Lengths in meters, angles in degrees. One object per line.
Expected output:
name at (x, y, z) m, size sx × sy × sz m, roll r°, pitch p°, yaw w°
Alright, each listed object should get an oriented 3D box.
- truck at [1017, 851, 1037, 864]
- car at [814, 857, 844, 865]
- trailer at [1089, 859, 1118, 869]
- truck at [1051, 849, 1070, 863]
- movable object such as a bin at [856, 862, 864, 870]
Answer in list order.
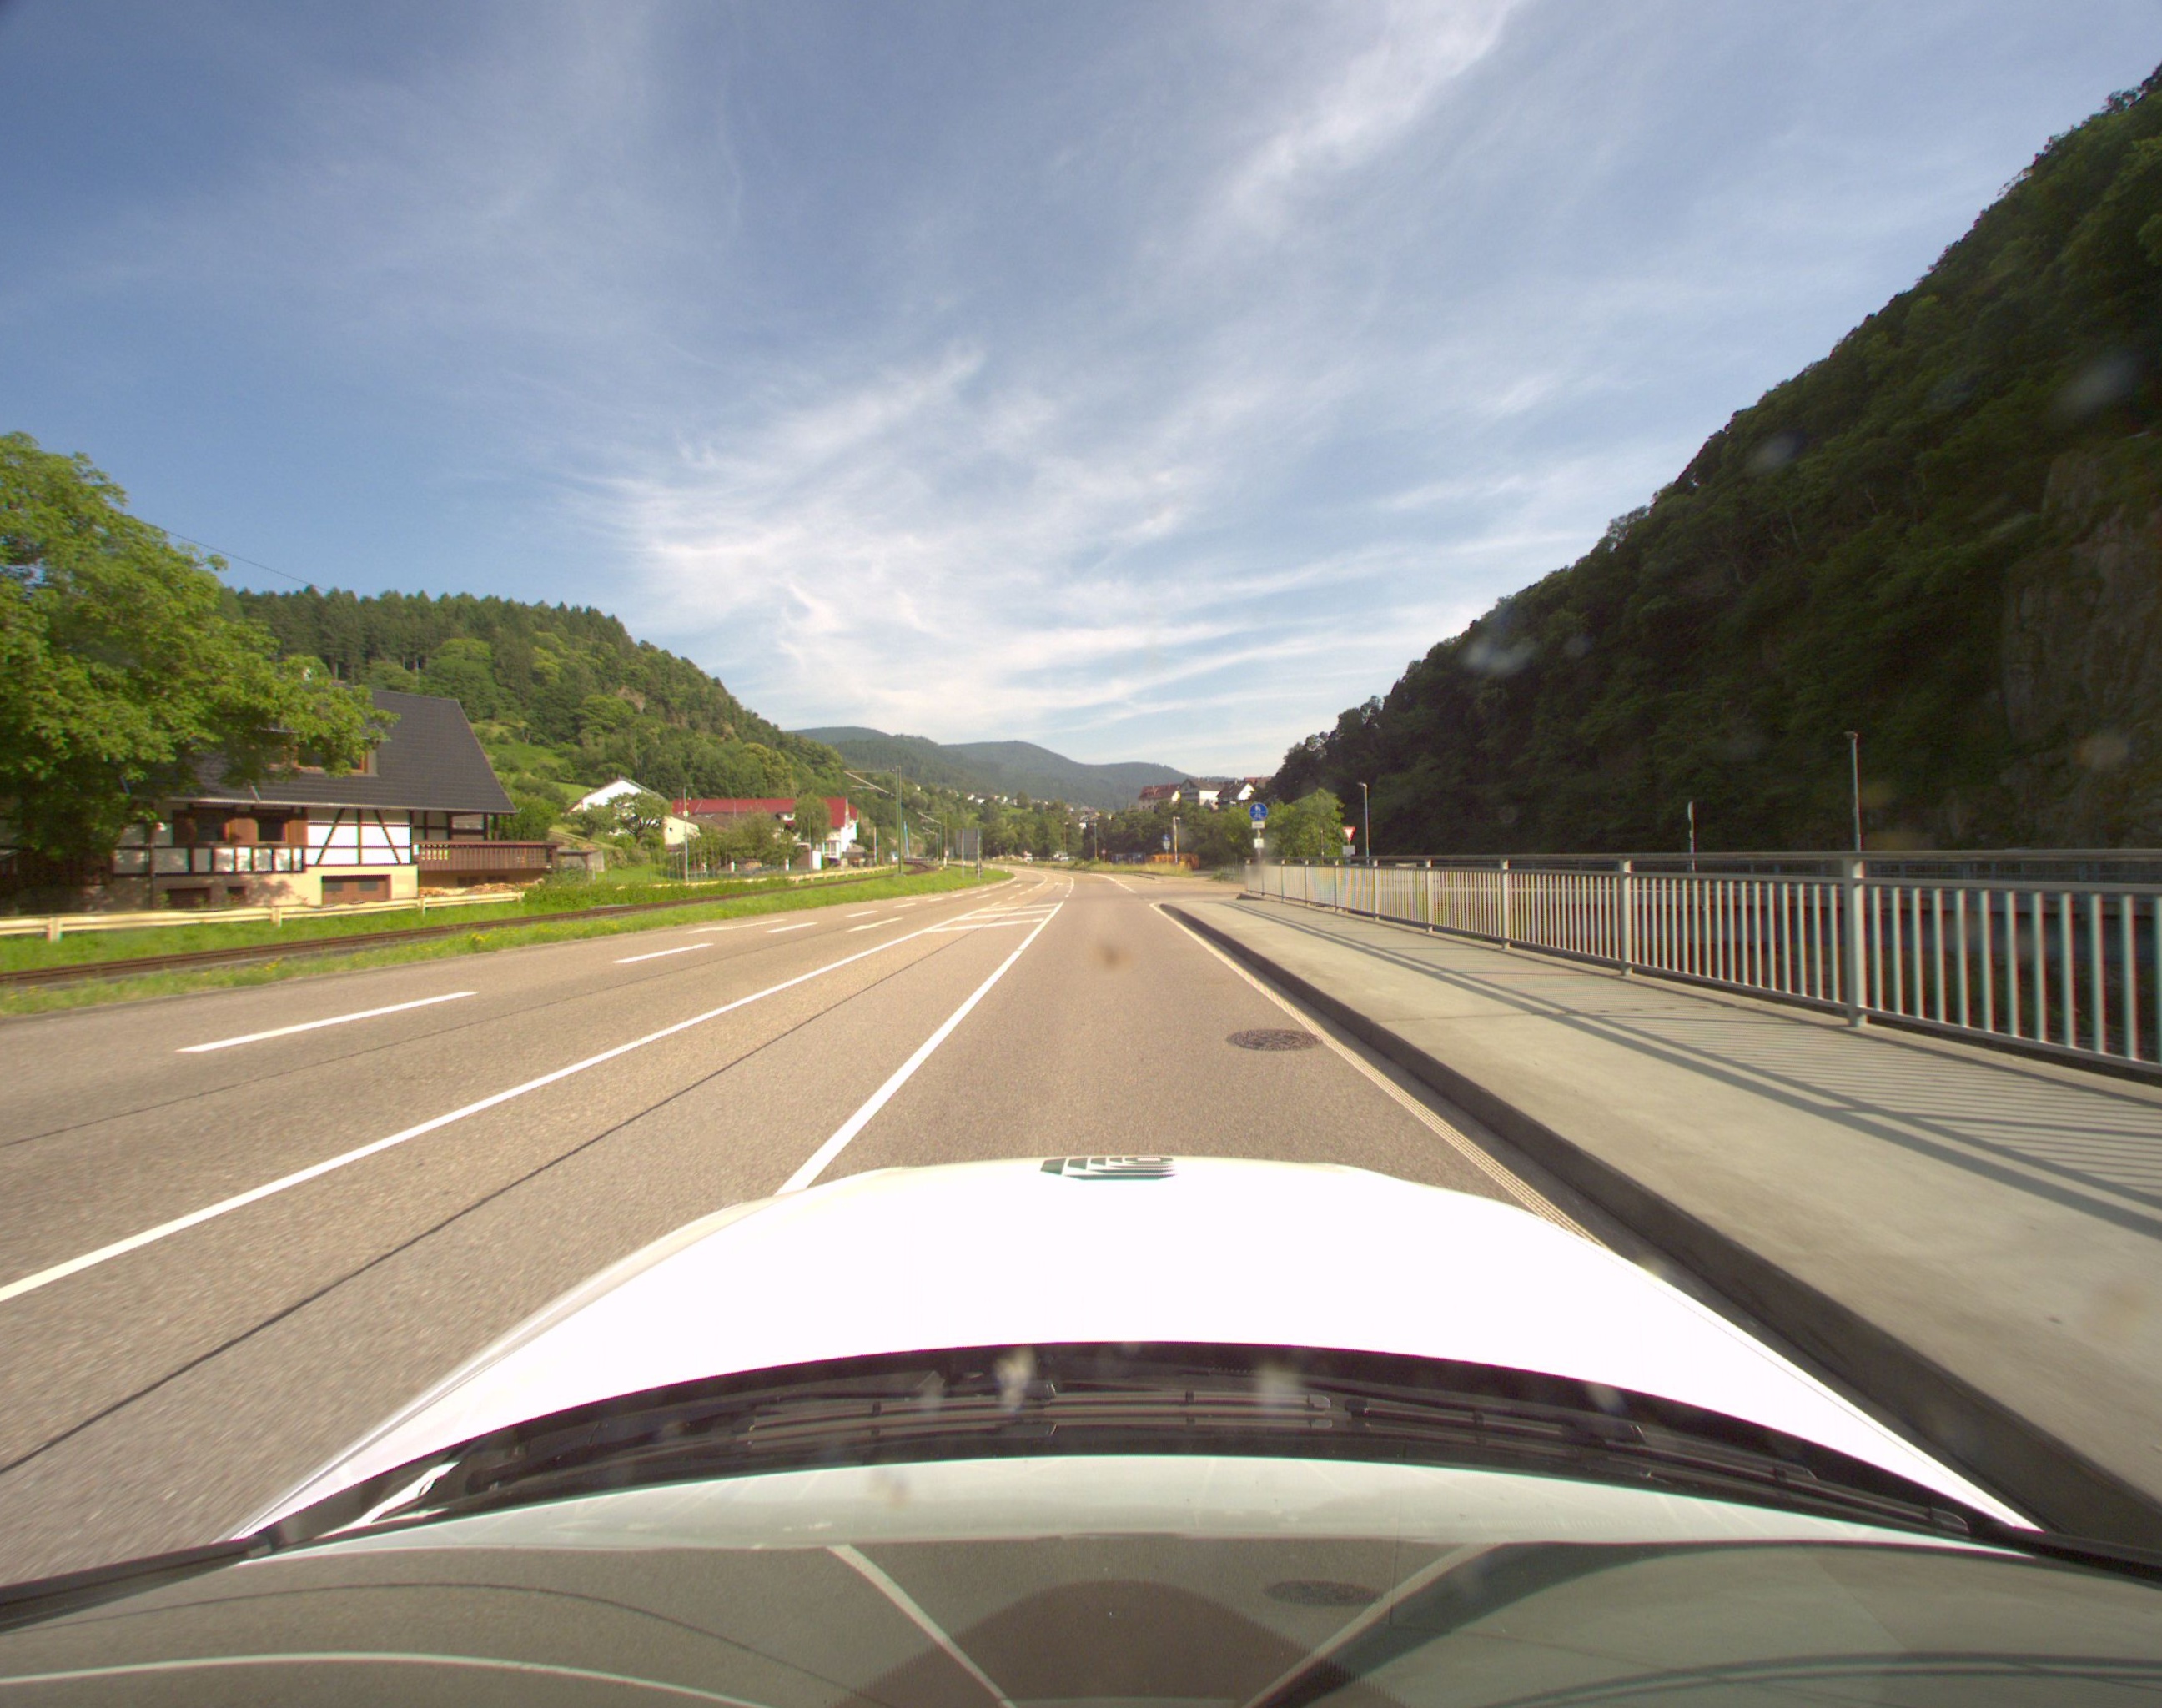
truck at (-16.171, 0.918, 243.915) m, size 3.118 × 3.782 × 8.574 m, roll 0°, pitch 0°, yaw -24°
car at (-38.868, 1.083, 125.635) m, size 4.094 × 1.270 × 1.731 m, roll -1°, pitch 0°, yaw -10°
trailer at (3.520, 1.554, 130.961) m, size 2.791 × 1.474 × 9.854 m, roll 1°, pitch 0°, yaw -10°
truck at (-5.762, 0.582, 228.255) m, size 3.109 × 3.782 × 8.598 m, roll 0°, pitch 0°, yaw -16°
movable object such as a bin at (-33.077, 1.839, 121.830) m, size 1.142 × 1.192 × 1.087 m, roll -1°, pitch 0°, yaw -16°
